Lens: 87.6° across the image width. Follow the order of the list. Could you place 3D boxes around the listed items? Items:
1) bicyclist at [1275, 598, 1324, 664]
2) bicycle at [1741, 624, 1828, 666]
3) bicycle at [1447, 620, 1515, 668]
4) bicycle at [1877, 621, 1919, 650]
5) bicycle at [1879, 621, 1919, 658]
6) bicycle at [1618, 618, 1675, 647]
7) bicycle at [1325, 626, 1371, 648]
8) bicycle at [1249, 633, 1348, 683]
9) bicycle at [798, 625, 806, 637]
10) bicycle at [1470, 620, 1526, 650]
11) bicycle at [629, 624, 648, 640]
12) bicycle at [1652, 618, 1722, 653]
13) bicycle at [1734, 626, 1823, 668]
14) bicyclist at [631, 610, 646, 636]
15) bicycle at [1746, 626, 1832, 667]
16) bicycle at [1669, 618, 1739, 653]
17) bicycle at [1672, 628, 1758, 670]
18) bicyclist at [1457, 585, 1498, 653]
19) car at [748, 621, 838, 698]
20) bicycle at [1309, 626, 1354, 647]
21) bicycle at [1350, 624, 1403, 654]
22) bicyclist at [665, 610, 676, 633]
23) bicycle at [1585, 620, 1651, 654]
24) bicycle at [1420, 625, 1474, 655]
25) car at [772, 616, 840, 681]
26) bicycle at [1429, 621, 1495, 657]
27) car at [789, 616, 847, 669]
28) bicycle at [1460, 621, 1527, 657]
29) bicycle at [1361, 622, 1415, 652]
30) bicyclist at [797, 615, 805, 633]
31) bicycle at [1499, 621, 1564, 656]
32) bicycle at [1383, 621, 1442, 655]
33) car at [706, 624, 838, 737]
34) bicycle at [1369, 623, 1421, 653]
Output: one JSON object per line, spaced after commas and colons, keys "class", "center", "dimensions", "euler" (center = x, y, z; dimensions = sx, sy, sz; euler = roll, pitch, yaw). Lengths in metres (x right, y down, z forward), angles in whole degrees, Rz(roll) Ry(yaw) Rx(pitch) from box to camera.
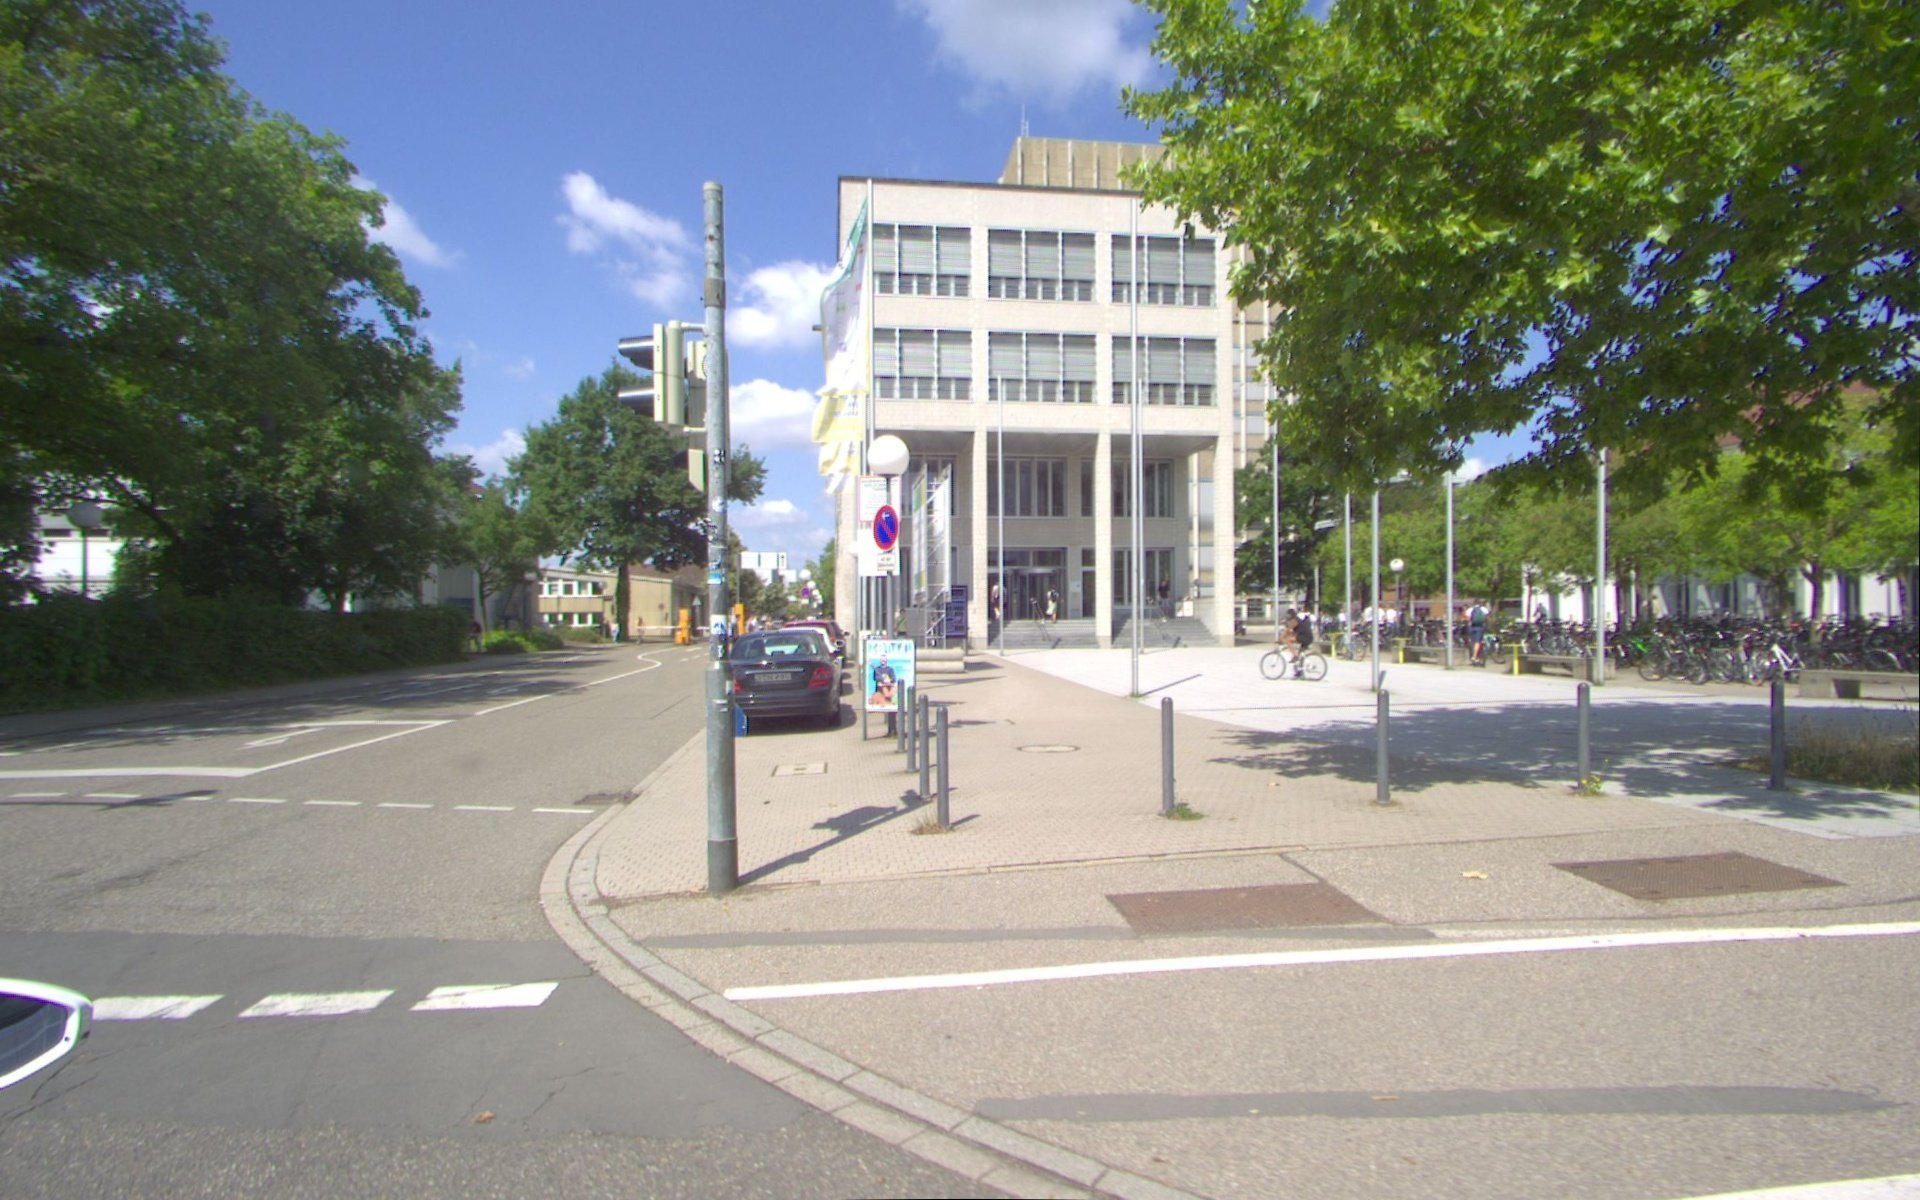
{"class": "bicyclist", "center": [8.256, 0.743, 24.337], "dimensions": [0.656, 1.584, 0.924], "euler": [-1, 0, -45]}
{"class": "bicycle", "center": [22.779, 1.258, 27.684], "dimensions": [0.597, 1.112, 1.755], "euler": [1, -3, -38]}
{"class": "bicycle", "center": [14.653, 1.226, 28.152], "dimensions": [1.844, 1.313, 0.660], "euler": [0, -2, -25]}
{"class": "bicycle", "center": [29.531, 1.096, 30.885], "dimensions": [0.597, 0.880, 1.755], "euler": [1, -3, -38]}
{"class": "bicycle", "center": [28.924, 1.178, 30.138], "dimensions": [0.597, 1.112, 1.755], "euler": [1, -3, -38]}
{"class": "bicycle", "center": [27.457, 1.311, 40.062], "dimensions": [0.597, 1.112, 1.755], "euler": [1, -3, -38]}
{"class": "bicycle", "center": [15.078, 1.439, 38.924], "dimensions": [1.737, 0.803, 0.519], "euler": [0, 0, -20]}
{"class": "bicycle", "center": [8.223, 1.388, 24.428], "dimensions": [0.894, 1.093, 2.133], "euler": [-2, 1, -43]}
{"class": "bicycle", "center": [-19.588, 3.829, 123.973], "dimensions": [0.971, 1.332, 2.965], "euler": [0, -3, -8]}
{"class": "bicycle", "center": [20.273, 1.331, 37.789], "dimensions": [0.597, 1.112, 1.755], "euler": [1, -3, -38]}
{"class": "bicycle", "center": [-19.971, 1.978, 62.199], "dimensions": [0.780, 1.002, 2.209], "euler": [0, -1, -8]}
{"class": "bicycle", "center": [24.003, 1.194, 33.076], "dimensions": [0.597, 1.112, 1.755], "euler": [1, -3, -38]}
{"class": "bicycle", "center": [22.240, 1.292, 27.238], "dimensions": [0.597, 1.112, 1.755], "euler": [1, -3, -38]}
{"class": "bicyclist", "center": [-20.079, 1.431, 62.544], "dimensions": [0.682, 1.568, 1.018], "euler": [0, -1, -8]}
{"class": "bicycle", "center": [23.261, 1.322, 28.117], "dimensions": [0.597, 1.112, 1.755], "euler": [1, -3, -38]}
{"class": "bicycle", "center": [24.820, 1.200, 33.415], "dimensions": [0.597, 1.112, 1.755], "euler": [1, -3, -38]}
{"class": "bicycle", "center": [20.517, 1.342, 27.233], "dimensions": [0.597, 1.112, 1.755], "euler": [1, -3, -38]}
{"class": "bicyclist", "center": [14.543, 0.535, 28.134], "dimensions": [0.749, 1.868, 0.661], "euler": [0, -2, -23]}
{"class": "car", "center": [-3.575, 1.222, 21.964], "dimensions": [1.691, 1.418, 4.438], "euler": [-3, -1, -7]}
{"class": "bicycle", "center": [14.850, 1.460, 40.034], "dimensions": [1.737, 0.803, 0.519], "euler": [0, 0, -20]}
{"class": "bicycle", "center": [15.498, 1.463, 37.287], "dimensions": [0.597, 1.112, 1.755], "euler": [1, -3, -38]}
{"class": "bicyclist", "center": [-22.273, 1.679, 77.176], "dimensions": [0.682, 1.759, 0.918], "euler": [0, -1, -8]}
{"class": "bicycle", "center": [22.332, 1.280, 33.988], "dimensions": [0.597, 1.112, 1.755], "euler": [1, -3, -38]}
{"class": "bicycle", "center": [18.579, 1.542, 38.251], "dimensions": [0.597, 1.112, 1.755], "euler": [1, -3, -38]}
{"class": "car", "center": [-4.036, 1.228, 26.728], "dimensions": [1.588, 1.516, 4.146], "euler": [-2, 0, -7]}
{"class": "bicycle", "center": [15.836, 1.236, 31.600], "dimensions": [0.597, 1.112, 1.755], "euler": [1, -3, -38]}
{"class": "car", "center": [-4.464, 1.304, 31.739], "dimensions": [1.692, 1.549, 3.999], "euler": [-1, -1, -7]}
{"class": "bicycle", "center": [16.898, 1.239, 31.748], "dimensions": [0.597, 1.112, 1.755], "euler": [1, -3, -38]}
{"class": "bicycle", "center": [16.093, 1.398, 37.684], "dimensions": [0.597, 1.112, 1.755], "euler": [1, -3, -38]}
{"class": "bicyclist", "center": [-19.699, 3.003, 124.374], "dimensions": [0.971, 2.158, 1.036], "euler": [0, -2, -8]}
{"class": "bicycle", "center": [18.707, 1.285, 32.801], "dimensions": [0.597, 1.112, 1.755], "euler": [1, -3, -38]}
{"class": "bicycle", "center": [15.397, 1.301, 34.095], "dimensions": [0.597, 1.112, 1.755], "euler": [1, -3, -38]}
{"class": "car", "center": [-2.805, 1.126, 15.802], "dimensions": [1.691, 1.418, 4.947], "euler": [-2, -1, -7]}
{"class": "bicycle", "center": [16.587, 1.473, 38.232], "dimensions": [0.597, 1.112, 1.755], "euler": [1, -3, -38]}
